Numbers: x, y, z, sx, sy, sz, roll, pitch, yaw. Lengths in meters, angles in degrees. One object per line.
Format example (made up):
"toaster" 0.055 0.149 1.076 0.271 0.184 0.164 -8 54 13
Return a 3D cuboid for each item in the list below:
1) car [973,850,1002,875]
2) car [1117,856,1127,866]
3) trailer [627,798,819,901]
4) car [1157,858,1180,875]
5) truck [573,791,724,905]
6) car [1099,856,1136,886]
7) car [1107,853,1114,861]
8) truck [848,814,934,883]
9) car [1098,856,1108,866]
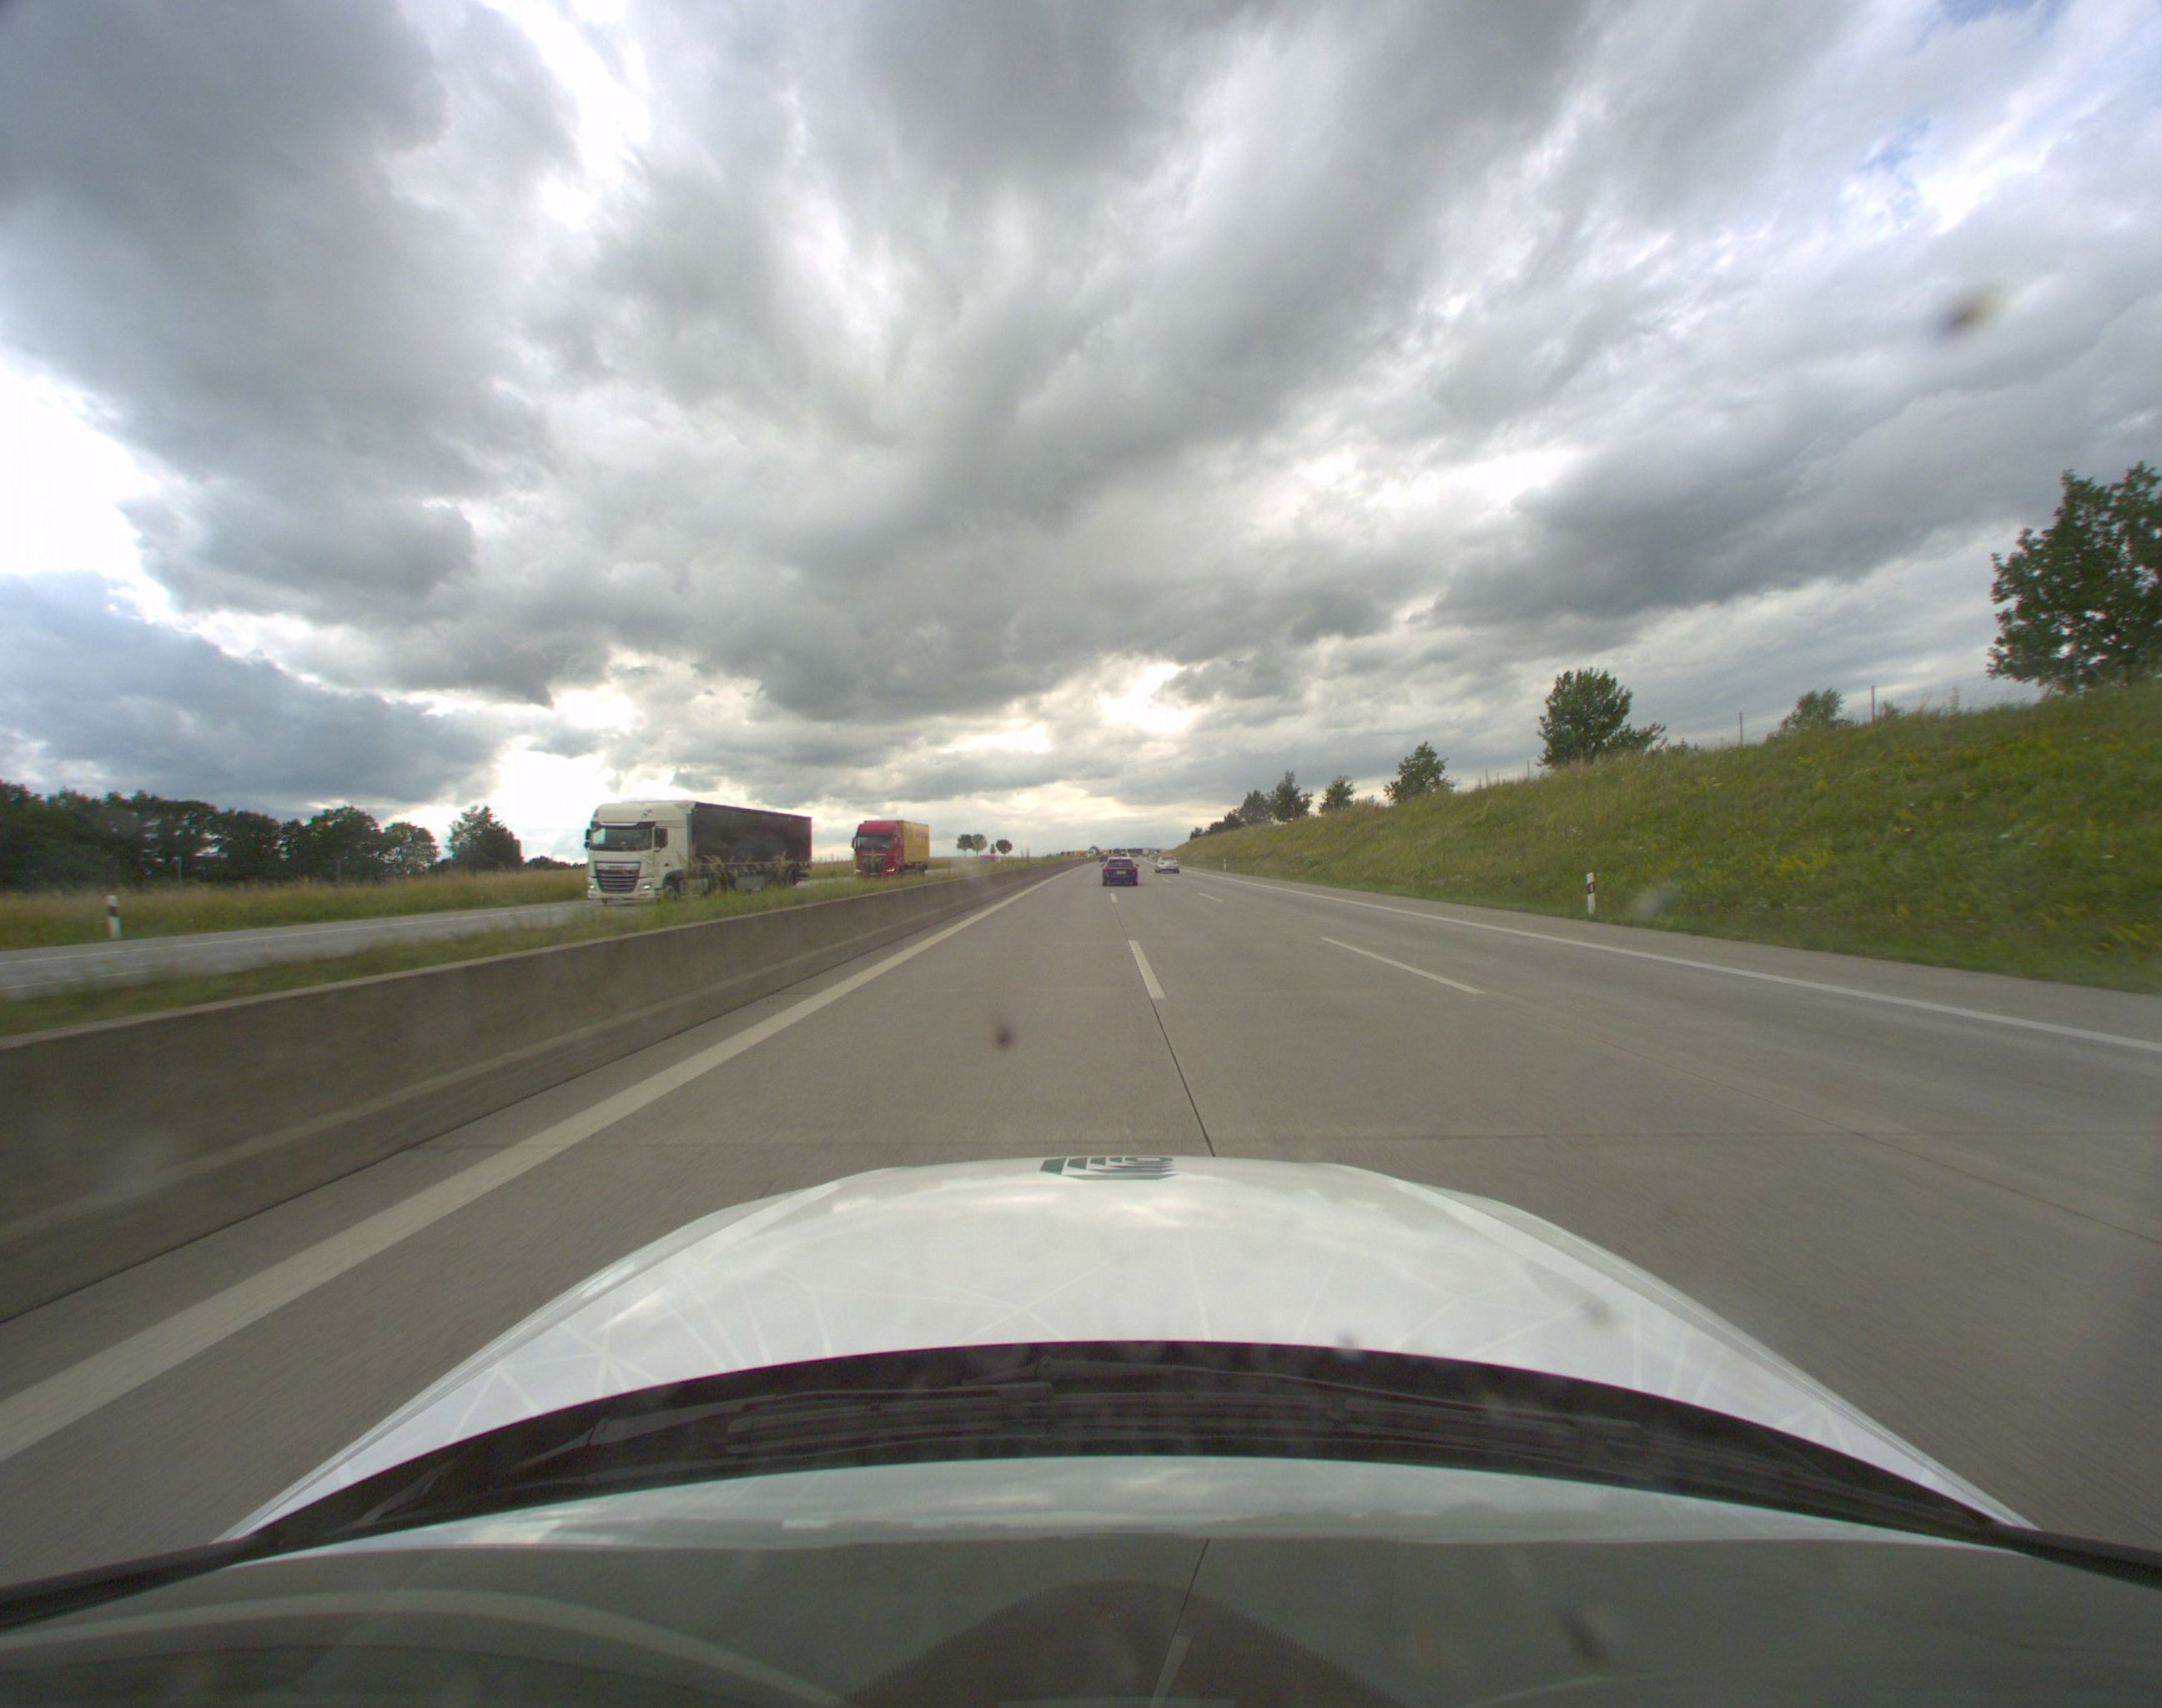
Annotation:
"car" -7.873 0.736 69.101 1.806 1.962 5.339 0 -1 0
"car" 8.606 1.460 172.765 1.986 2.014 4.001 0 -1 1
"trailer" -16.561 -0.184 39.516 2.829 4.038 13.911 -1 0 1
"car" 7.247 1.030 67.644 1.780 1.403 4.228 -1 -1 5
"truck" -16.784 -0.209 32.058 2.829 4.038 5.512 -1 0 1
"car" 1.914 0.841 41.707 1.767 1.413 4.004 -1 -1 4
"car" 7.887 0.853 218.410 1.986 2.014 4.000 0 -1 1
"truck" -12.151 -0.314 53.306 2.806 4.038 10.571 -1 0 1
"car" 4.404 1.461 165.637 2.039 2.014 4.000 0 -1 1
